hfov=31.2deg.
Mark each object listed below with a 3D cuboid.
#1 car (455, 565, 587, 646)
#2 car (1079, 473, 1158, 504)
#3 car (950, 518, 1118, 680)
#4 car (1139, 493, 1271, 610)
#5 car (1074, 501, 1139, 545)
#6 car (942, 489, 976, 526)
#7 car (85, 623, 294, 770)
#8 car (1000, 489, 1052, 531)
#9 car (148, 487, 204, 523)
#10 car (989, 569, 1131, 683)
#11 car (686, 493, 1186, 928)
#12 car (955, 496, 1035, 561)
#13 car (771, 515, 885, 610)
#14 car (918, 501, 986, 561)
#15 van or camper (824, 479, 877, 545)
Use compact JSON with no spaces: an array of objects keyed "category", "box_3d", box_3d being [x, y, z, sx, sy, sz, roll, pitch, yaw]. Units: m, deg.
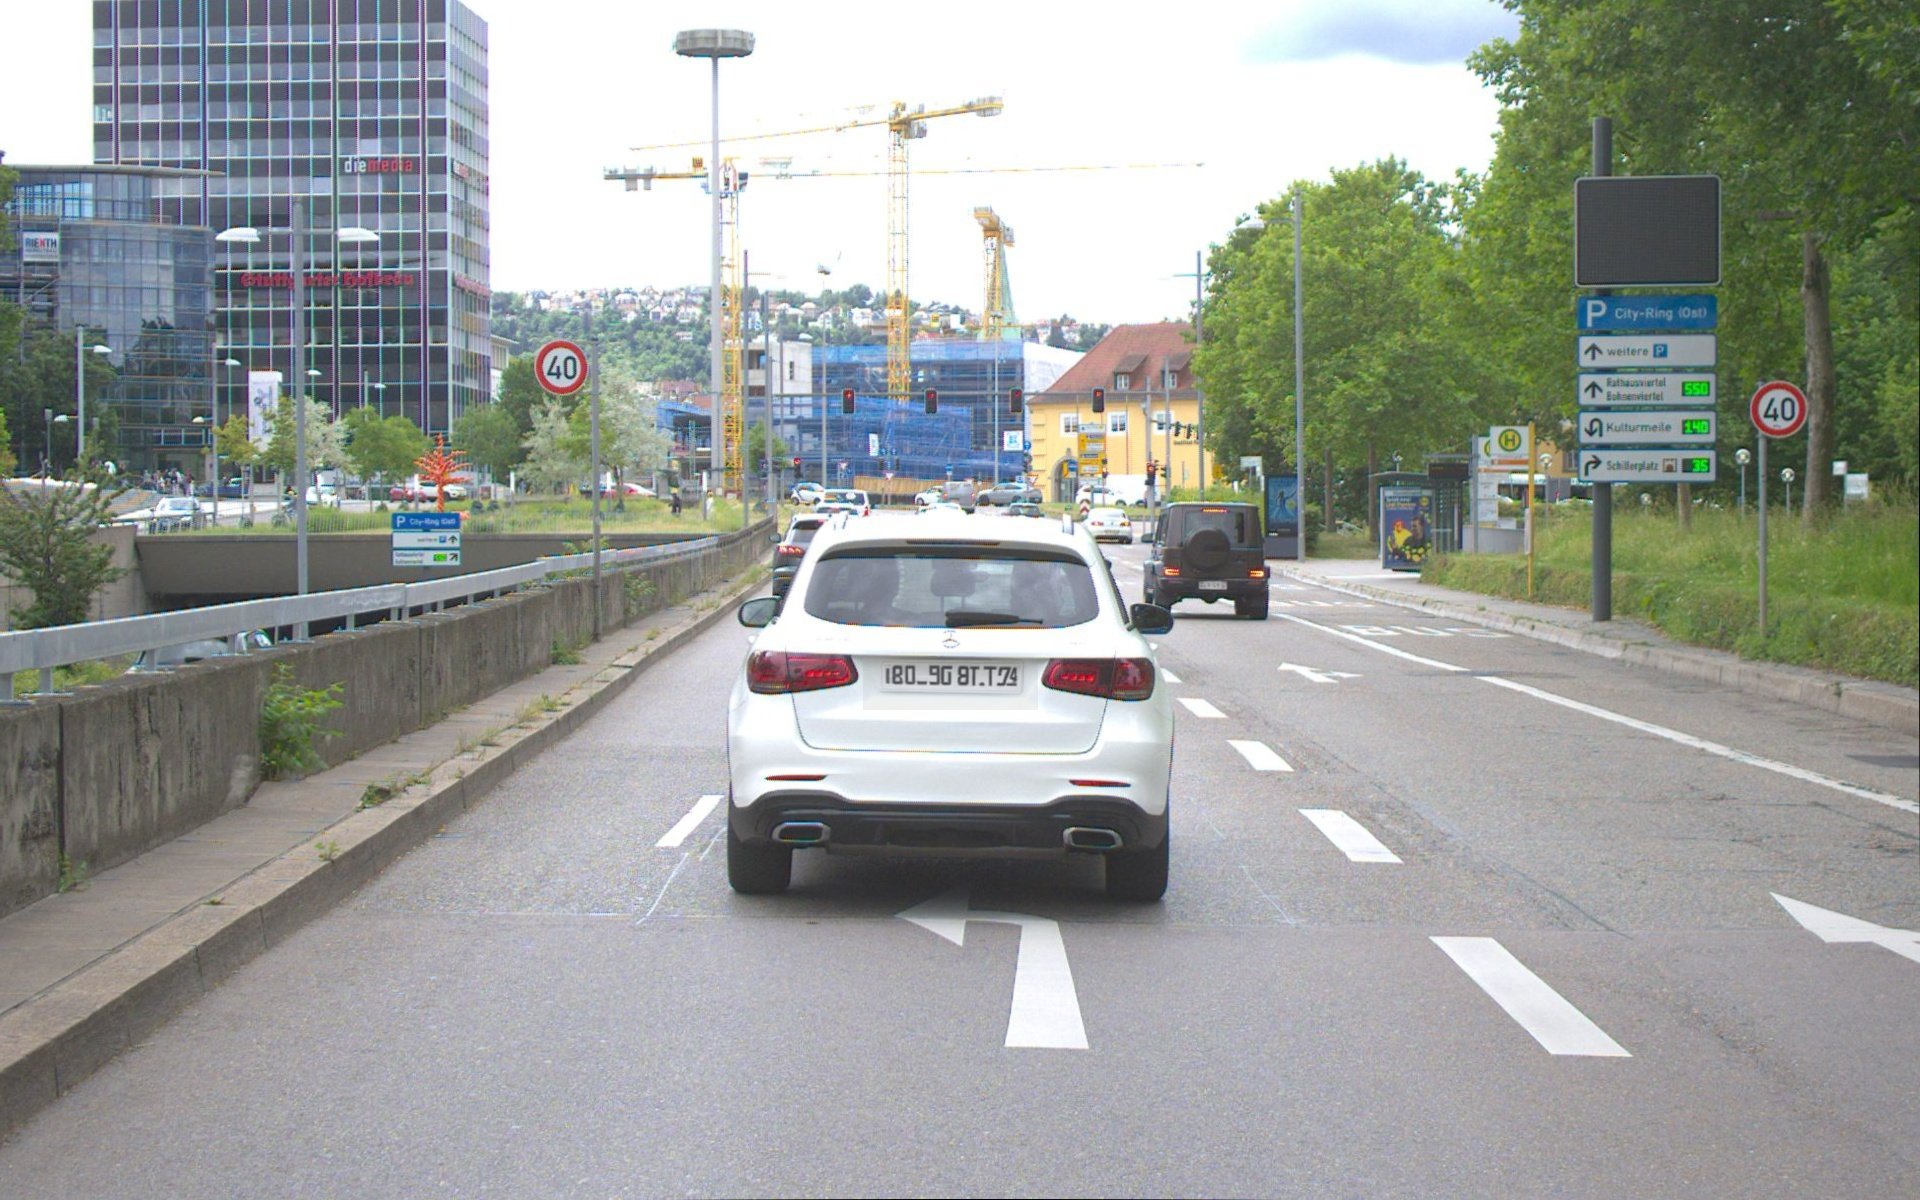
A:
[{"category":"car","box_3d":[-7.757,0.078,61.076,1.719,1.288,4.000,2,1,1]},{"category":"car","box_3d":[11.152,-7.844,242.015,5.283,2.053,1.869,3,0,36]},{"category":"car","box_3d":[0.764,-0.039,37.930,1.672,1.622,4.000,2,1,-1]},{"category":"car","box_3d":[4.224,-0.824,59.967,1.977,1.887,4.707,2,0,1]},{"category":"car","box_3d":[5.847,-3.072,137.615,1.993,1.612,4.001,2,0,-6]},{"category":"car","box_3d":[-0.095,-5.446,202.858,1.800,2.007,4.000,2,0,-2]},{"category":"car","box_3d":[-8.699,1.056,39.057,1.627,1.504,3.540,1,0,-1]},{"category":"car","box_3d":[2.623,-3.581,137.578,1.719,1.579,4.001,2,1,-3]},{"category":"car","box_3d":[-32.690,-3.964,143.376,1.832,1.355,3.869,2,0,-7]},{"category":"car","box_3d":[1.495,0.364,52.883,1.922,1.596,4.001,1,1,-2]},{"category":"car","box_3d":[-0.128,0.421,15.579,1.940,1.678,4.000,1,0,-1]},{"category":"car","box_3d":[0.943,-1.971,95.774,1.993,1.656,4.000,2,0,-2]},{"category":"car","box_3d":[-2.330,-0.688,61.114,1.922,1.596,4.001,1,1,-2]},{"category":"car","box_3d":[-0.285,-2.182,109.806,1.993,1.774,4.000,2,0,-2]},{"category":"van or camper","box_3d":[-4.140,-3.301,129.839,1.922,2.312,4.000,1,-1,-2]}]
